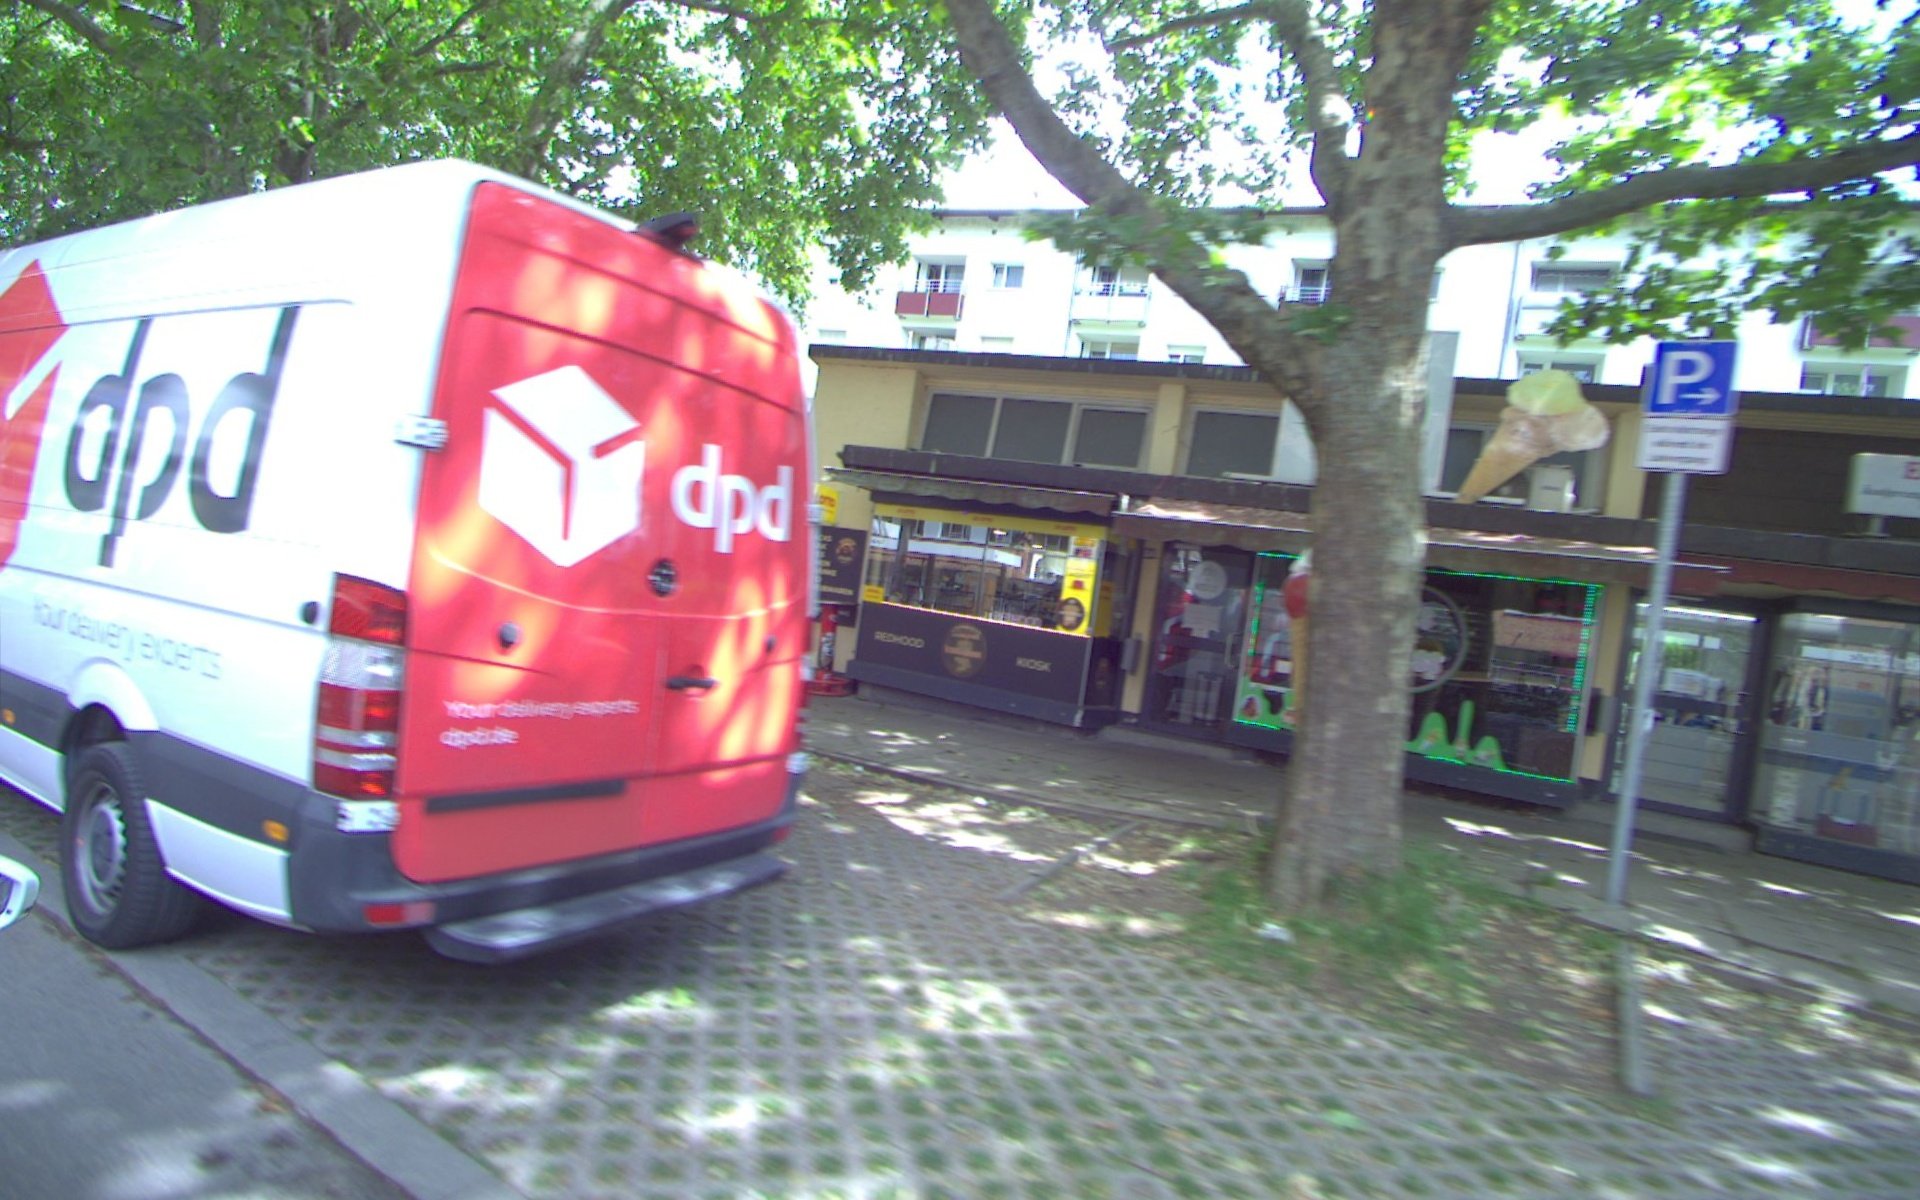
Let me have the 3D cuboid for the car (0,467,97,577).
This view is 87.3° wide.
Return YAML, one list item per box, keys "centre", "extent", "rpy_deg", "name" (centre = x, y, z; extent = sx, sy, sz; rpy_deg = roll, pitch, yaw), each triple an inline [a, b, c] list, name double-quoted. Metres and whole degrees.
- centre: [-15.488, -1.347, 14.811]
  extent: [1.591, 1.582, 3.838]
  rpy_deg: [8, 1, 25]
  name: "car"

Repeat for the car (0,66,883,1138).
- centre: [-3.776, -0.303, 5.032]
  extent: [6.720, 2.614, 1.906]
  rpy_deg: [8, 2, 32]
  name: "car"
